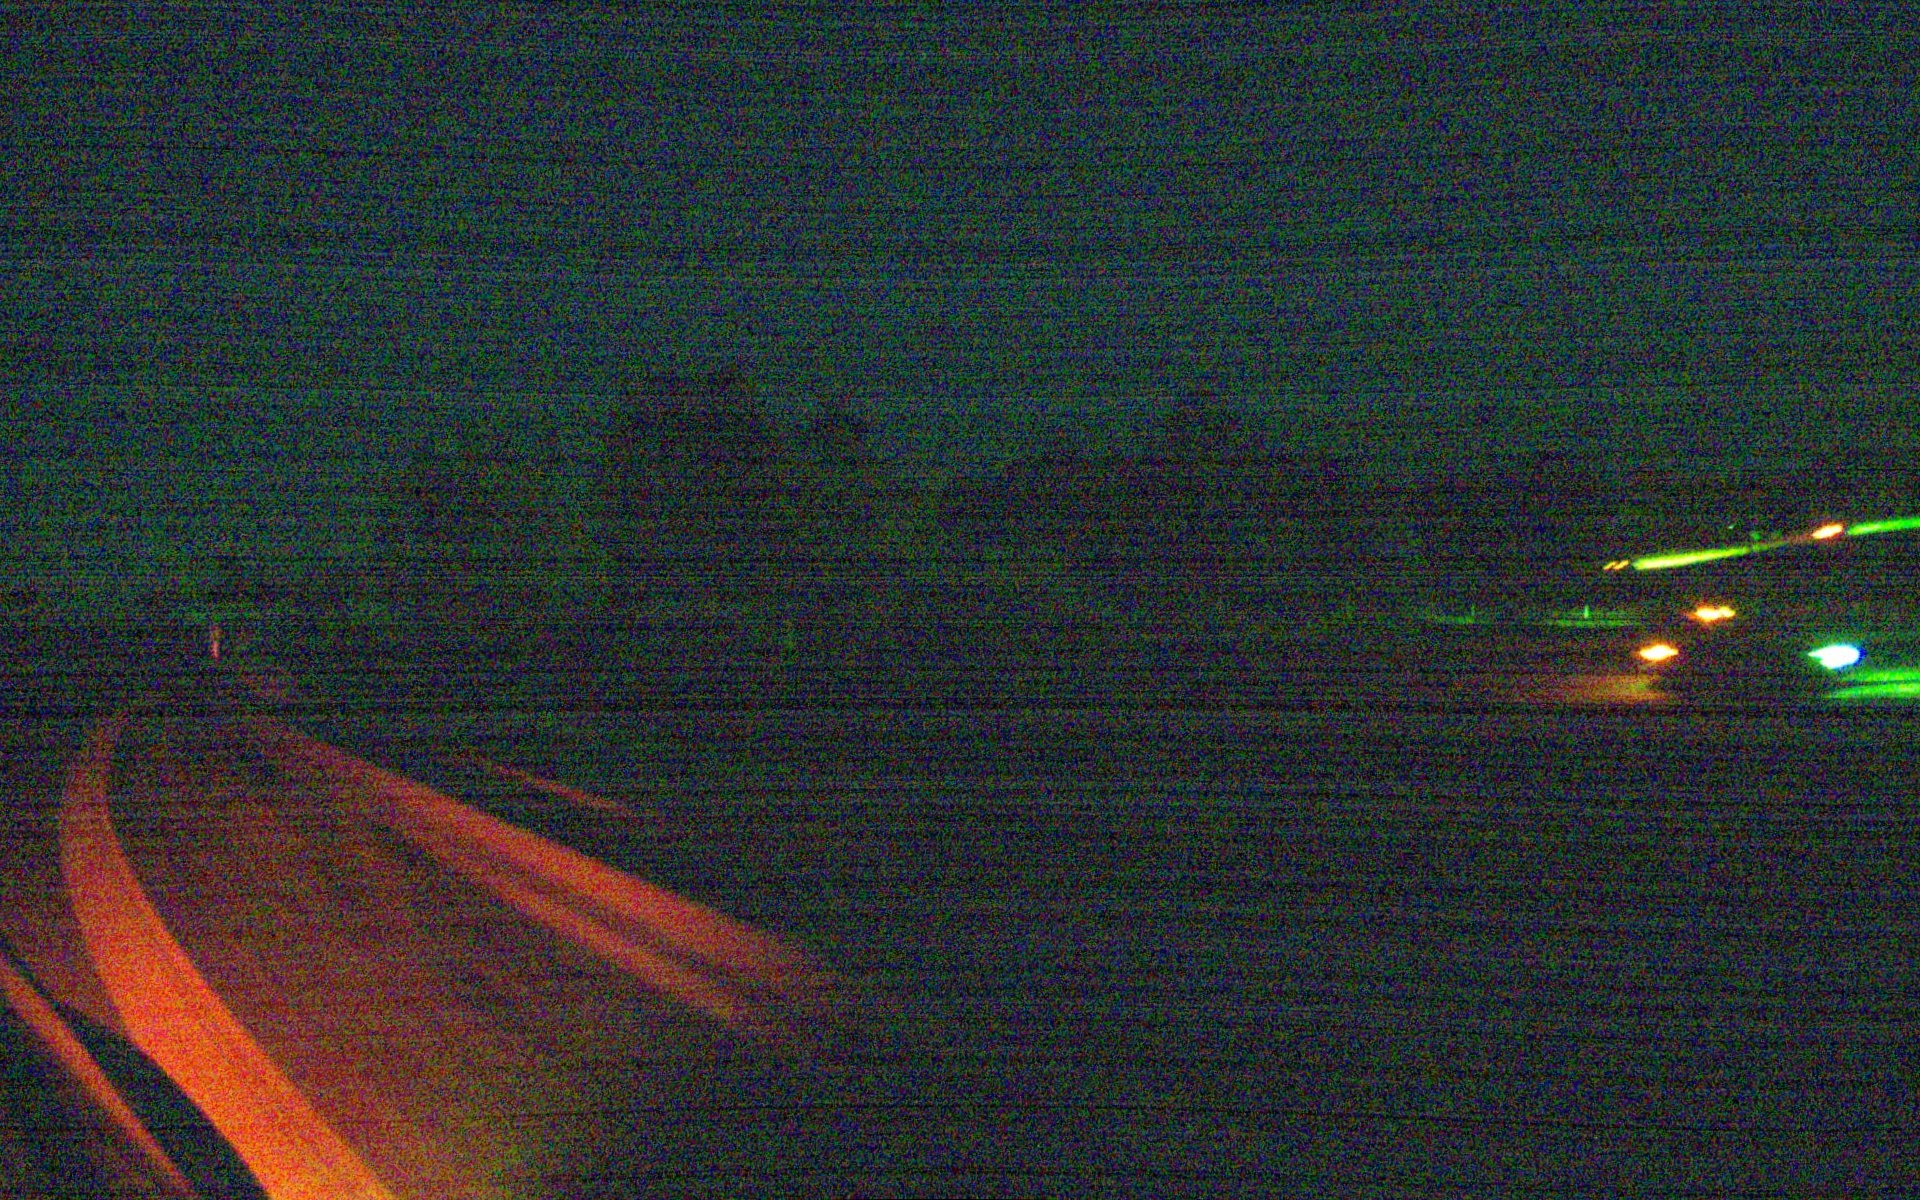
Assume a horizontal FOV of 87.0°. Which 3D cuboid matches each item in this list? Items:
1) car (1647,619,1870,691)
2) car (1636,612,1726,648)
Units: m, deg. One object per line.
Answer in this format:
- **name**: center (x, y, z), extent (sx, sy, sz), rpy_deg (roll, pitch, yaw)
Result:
- **car**: center (21.989, 1.556, 28.066), extent (4.639, 1.620, 1.921), rpy_deg (-5, 0, 40)
- **car**: center (38.905, 1.606, 54.745), extent (1.850, 1.798, 4.000), rpy_deg (-3, -2, -1)
